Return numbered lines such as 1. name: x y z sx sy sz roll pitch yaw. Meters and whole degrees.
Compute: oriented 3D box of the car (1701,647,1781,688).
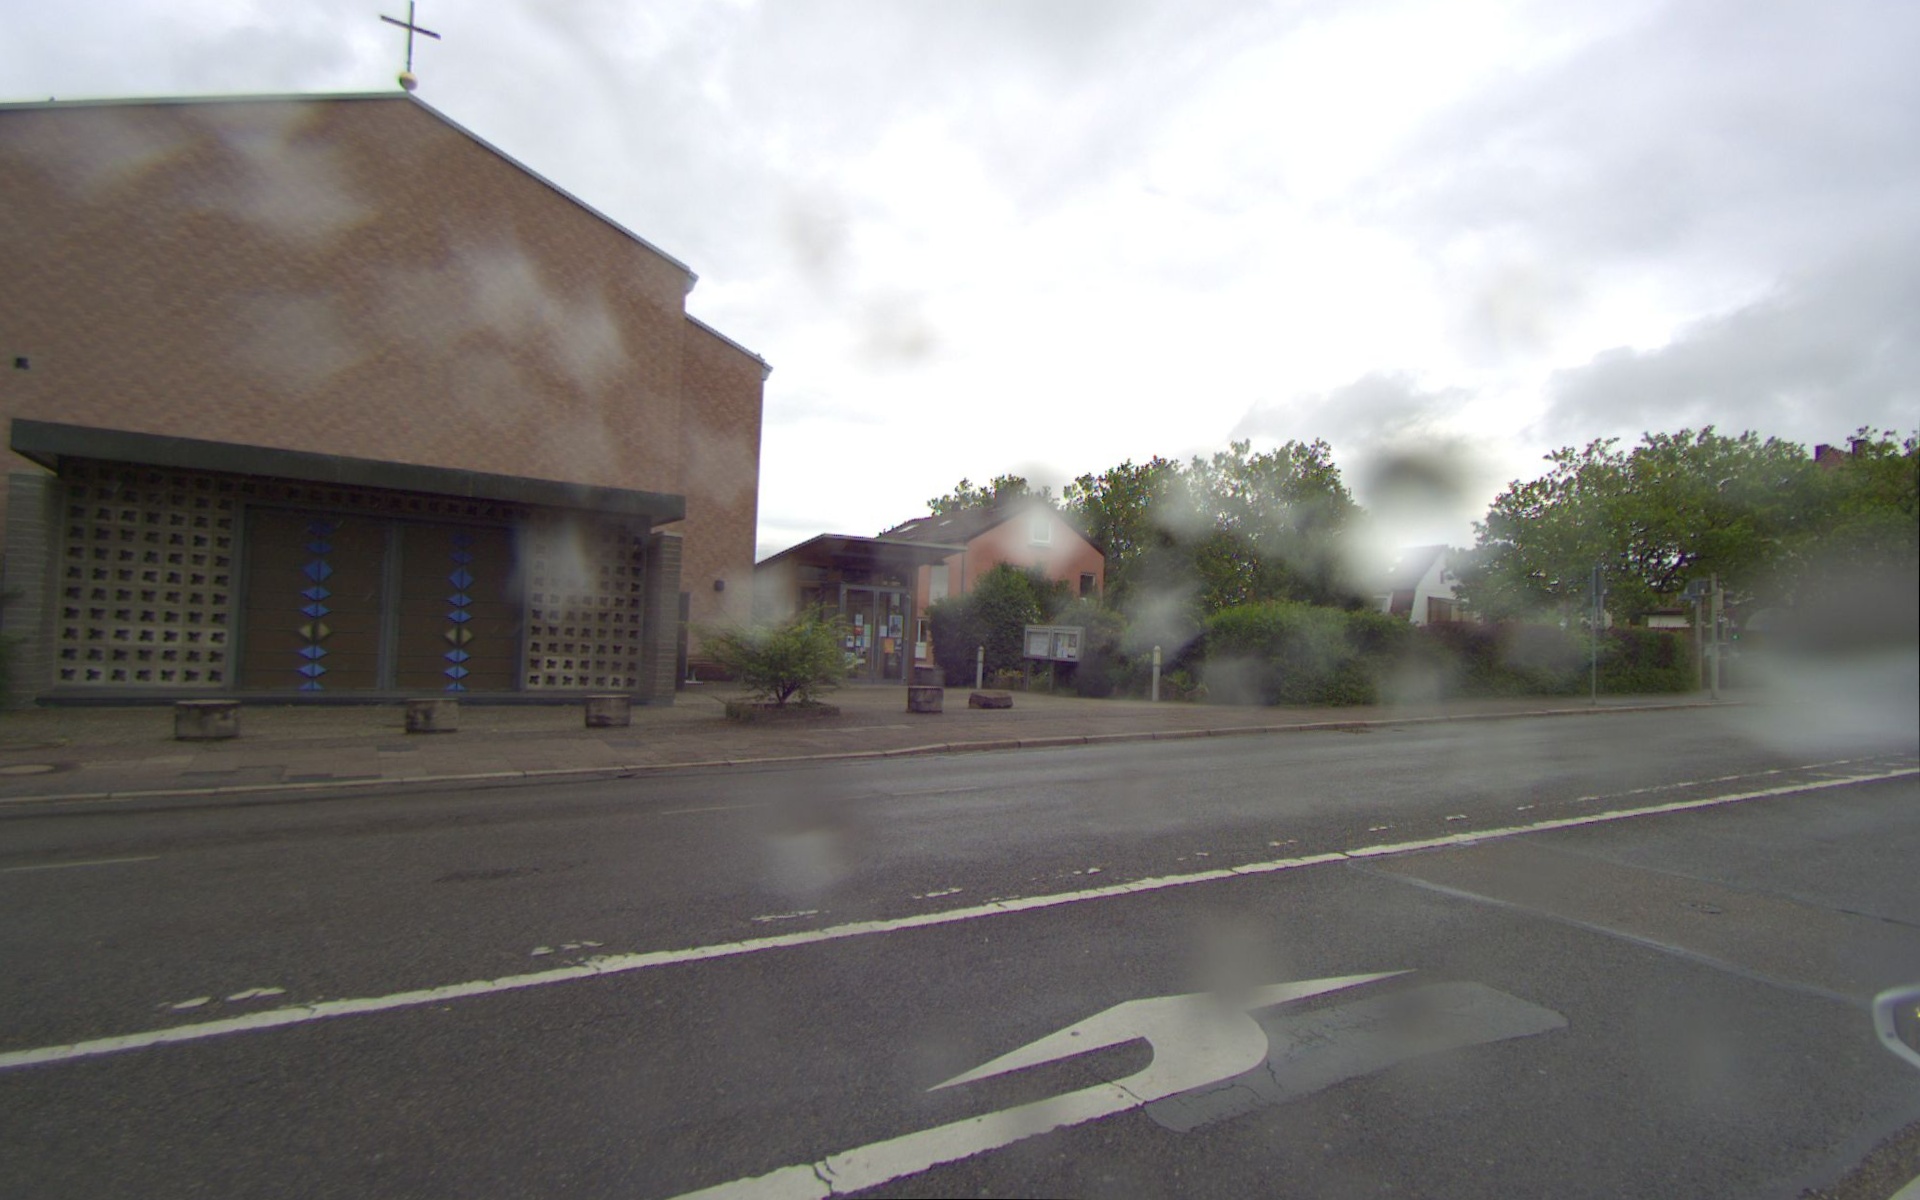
1. car: 37.450 3.193 48.151 3.955 1.573 1.798 -2 2 -32
